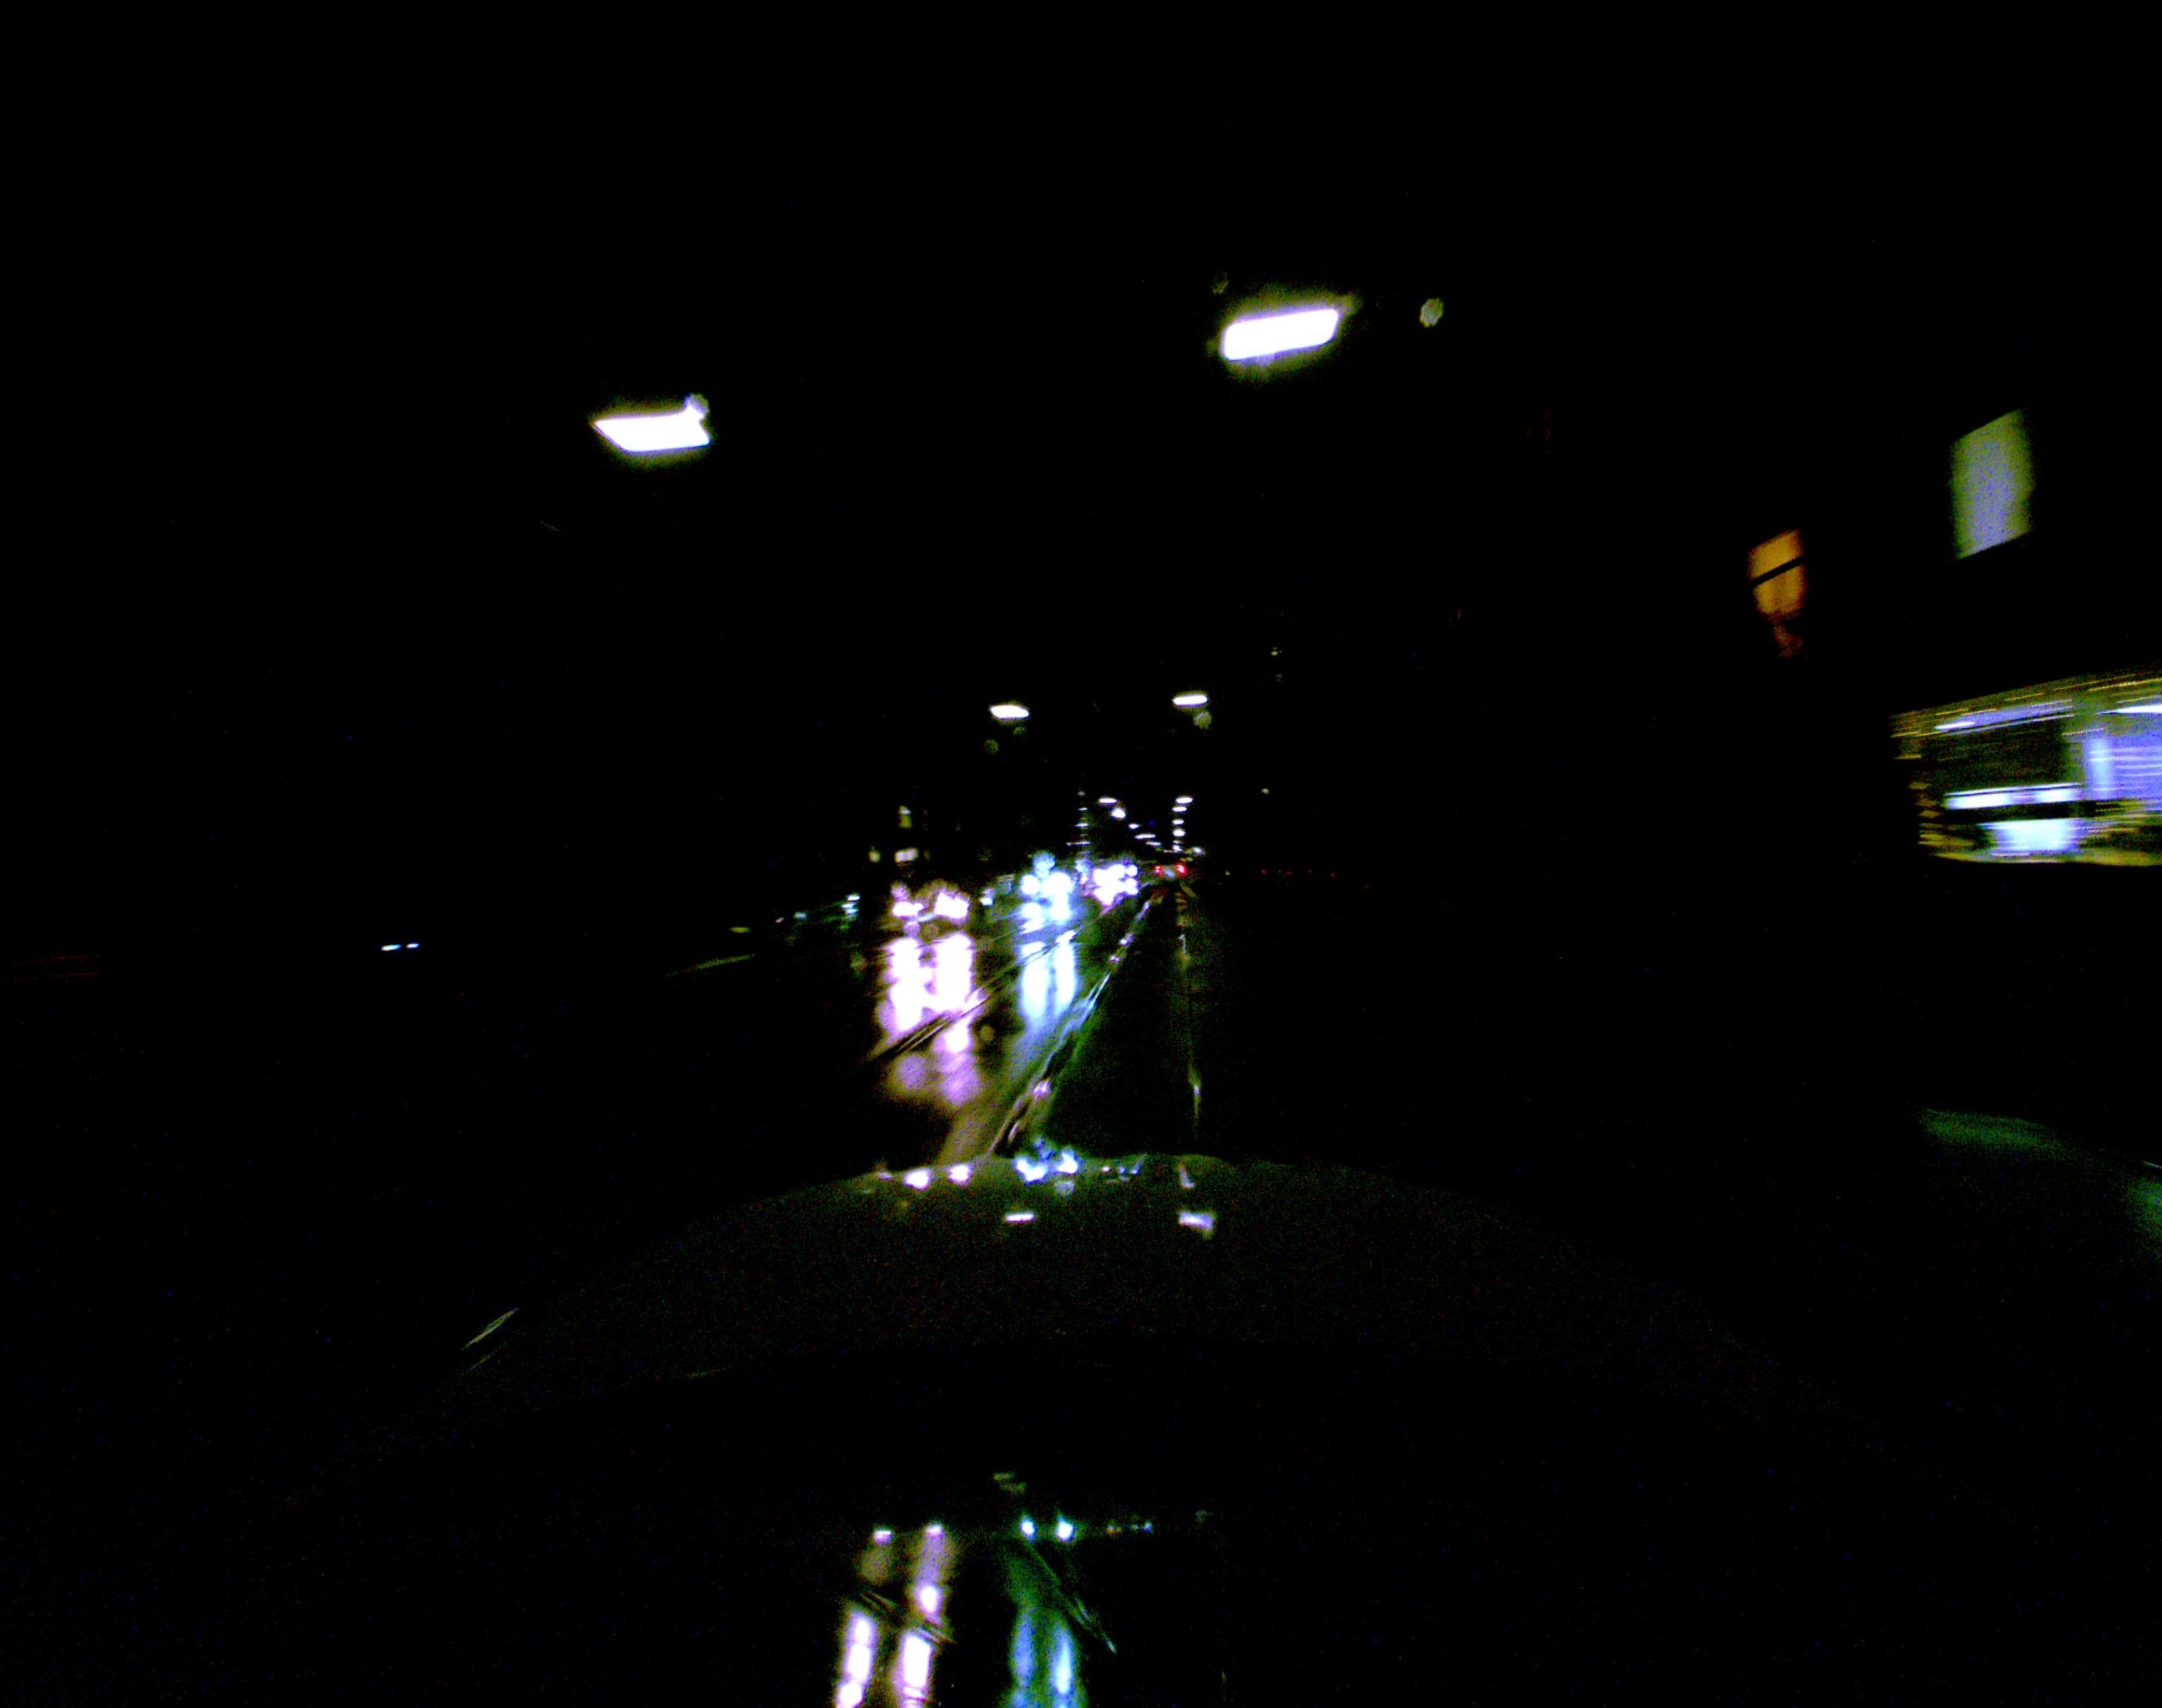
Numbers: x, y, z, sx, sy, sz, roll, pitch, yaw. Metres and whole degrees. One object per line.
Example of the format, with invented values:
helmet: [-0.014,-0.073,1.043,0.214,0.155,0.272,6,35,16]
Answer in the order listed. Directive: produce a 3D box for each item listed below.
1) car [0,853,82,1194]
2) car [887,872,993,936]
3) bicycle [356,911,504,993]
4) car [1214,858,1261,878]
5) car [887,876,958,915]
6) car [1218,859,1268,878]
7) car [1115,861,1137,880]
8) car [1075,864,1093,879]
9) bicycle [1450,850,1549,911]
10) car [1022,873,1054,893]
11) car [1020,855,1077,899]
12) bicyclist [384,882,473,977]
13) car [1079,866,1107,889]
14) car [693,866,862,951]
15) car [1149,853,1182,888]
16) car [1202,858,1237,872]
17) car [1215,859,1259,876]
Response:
car: [-7.229,0.968,2.704,1.883,1.869,4.548,-4,-1,9]
car: [-3.776,1.300,22.517,1.783,1.464,3.908,-3,-1,7]
bicycle: [-10.483,1.538,13.211,0.650,1.141,1.902,-1,-2,9]
car: [12.946,1.144,67.133,3.877,1.488,1.786,-1,-2,-42]
car: [-6.289,1.629,32.778,1.757,1.407,4.146,0,-1,5]
car: [12.763,1.153,64.240,3.807,1.458,1.750,0,-1,-36]
car: [4.831,1.791,87.314,1.928,1.816,4.394,-4,-1,7]
car: [0.352,1.886,90.617,1.633,1.507,3.623,-1,1,4]
bicycle: [9.307,0.585,18.143,1.805,1.164,0.493,-5,-2,4]
car: [-3.148,2.130,60.505,1.659,1.387,4.009,0,-2,7]
car: [-1.498,1.068,39.634,1.915,1.879,4.646,-4,-1,7]
bicyclist: [-10.501,1.191,13.133,0.650,1.465,0.870,-1,-2,9]
car: [0.903,1.708,59.584,1.644,1.479,4.211,-4,-1,5]
car: [-7.682,1.289,21.331,1.983,1.825,5.317,0,0,6]
car: [6.232,1.236,60.627,2.206,2.442,5.391,-2,-1,5]
car: [16.015,1.247,94.175,3.905,1.534,1.802,-1,-1,-35]
car: [13.467,1.183,70.405,3.854,1.438,1.581,0,-1,-38]
